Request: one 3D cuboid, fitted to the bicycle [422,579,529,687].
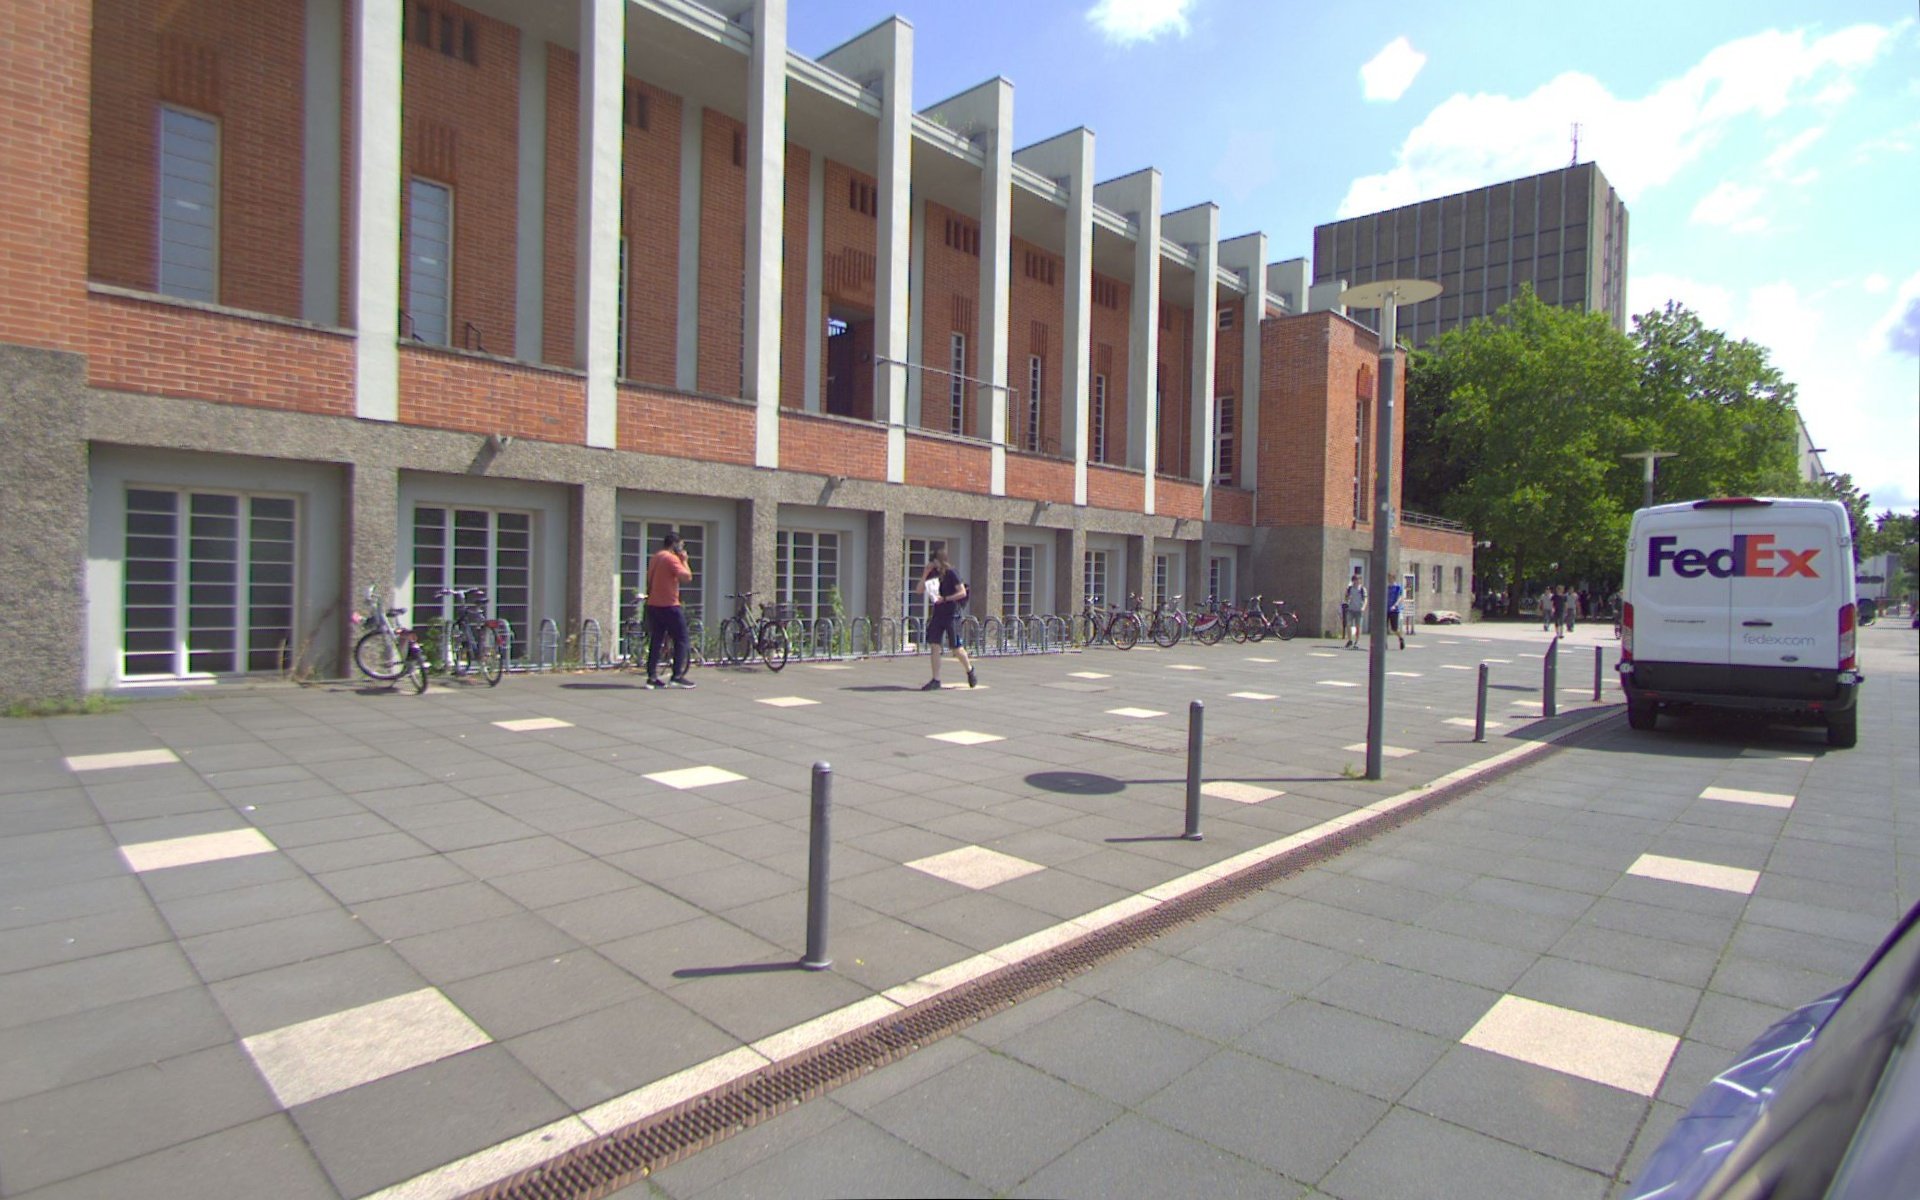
[{"bbox_3d":[-5.755,0.351,11.965,1.752,1.164,0.510,2,1,42],"label":"bicycle"}]

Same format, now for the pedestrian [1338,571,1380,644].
[{"bbox_3d":[9.778,0.176,24.777,0.585,1.728,0.986,3,2,44],"label":"pedestrian"}]

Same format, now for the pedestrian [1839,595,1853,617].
[{"bbox_3d":[71.239,0.489,81.383,0.576,1.702,0.536,2,1,8],"label":"pedestrian"}]

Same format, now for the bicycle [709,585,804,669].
[{"bbox_3d":[-2.966,0.367,14.665,1.682,1.124,0.429,2,1,42],"label":"bicycle"}]

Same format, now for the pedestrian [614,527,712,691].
[{"bbox_3d":[-3.522,0.090,12.012,0.663,1.857,0.892,2,1,44],"label":"pedestrian"}]

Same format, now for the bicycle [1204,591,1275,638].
[{"bbox_3d":[7.036,0.349,25.556,1.694,1.124,0.429,2,1,42],"label":"bicycle"}]

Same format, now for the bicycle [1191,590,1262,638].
[{"bbox_3d":[6.580,0.335,25.044,1.650,1.124,0.429,2,1,42],"label":"bicycle"}]

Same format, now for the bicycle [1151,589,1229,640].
[{"bbox_3d":[5.426,0.328,23.932,1.796,1.124,0.429,2,1,42],"label":"bicycle"}]

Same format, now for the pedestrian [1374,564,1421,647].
[{"bbox_3d":[10.509,0.111,24.284,0.664,1.913,1.093,3,2,43],"label":"pedestrian"}]

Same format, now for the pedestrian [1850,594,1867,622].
[{"bbox_3d":[46.721,0.409,52.615,0.584,1.460,0.628,2,1,45],"label":"pedestrian"}]

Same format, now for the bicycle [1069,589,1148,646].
[{"bbox_3d":[3.115,0.353,21.390,1.682,1.124,0.429,2,1,42],"label":"bicycle"}]

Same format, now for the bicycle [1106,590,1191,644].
[{"bbox_3d":[4.195,0.355,22.639,1.910,1.124,0.429,2,1,42],"label":"bicycle"}]

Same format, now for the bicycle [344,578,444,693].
[{"bbox_3d":[-6.300,0.354,11.224,1.752,1.164,0.429,2,1,42],"label":"bicycle"}]

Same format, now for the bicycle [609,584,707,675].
[{"bbox_3d":[-4.119,0.365,13.726,1.746,1.124,0.429,2,1,42],"label":"bicycle"}]

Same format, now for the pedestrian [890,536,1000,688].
[{"bbox_3d":[-0.184,0.133,13.086,0.842,1.857,1.181,2,1,38],"label":"pedestrian"}]

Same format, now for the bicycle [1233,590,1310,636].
[{"bbox_3d":[8.239,0.336,26.867,1.929,1.124,0.449,2,1,42],"label":"bicycle"}]

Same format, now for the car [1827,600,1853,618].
[{"bbox_3d":[90.453,0.903,104.028,1.992,1.678,3.940,2,1,41],"label":"car"}]

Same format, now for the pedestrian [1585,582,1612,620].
[{"bbox_3d":[33.553,0.046,53.206,0.971,1.970,0.972,1,1,21],"label":"pedestrian"}]

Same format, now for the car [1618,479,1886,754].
[{"bbox_3d":[9.743,0.121,12.335,2.057,2.575,5.762,2,1,41],"label":"car"}]
